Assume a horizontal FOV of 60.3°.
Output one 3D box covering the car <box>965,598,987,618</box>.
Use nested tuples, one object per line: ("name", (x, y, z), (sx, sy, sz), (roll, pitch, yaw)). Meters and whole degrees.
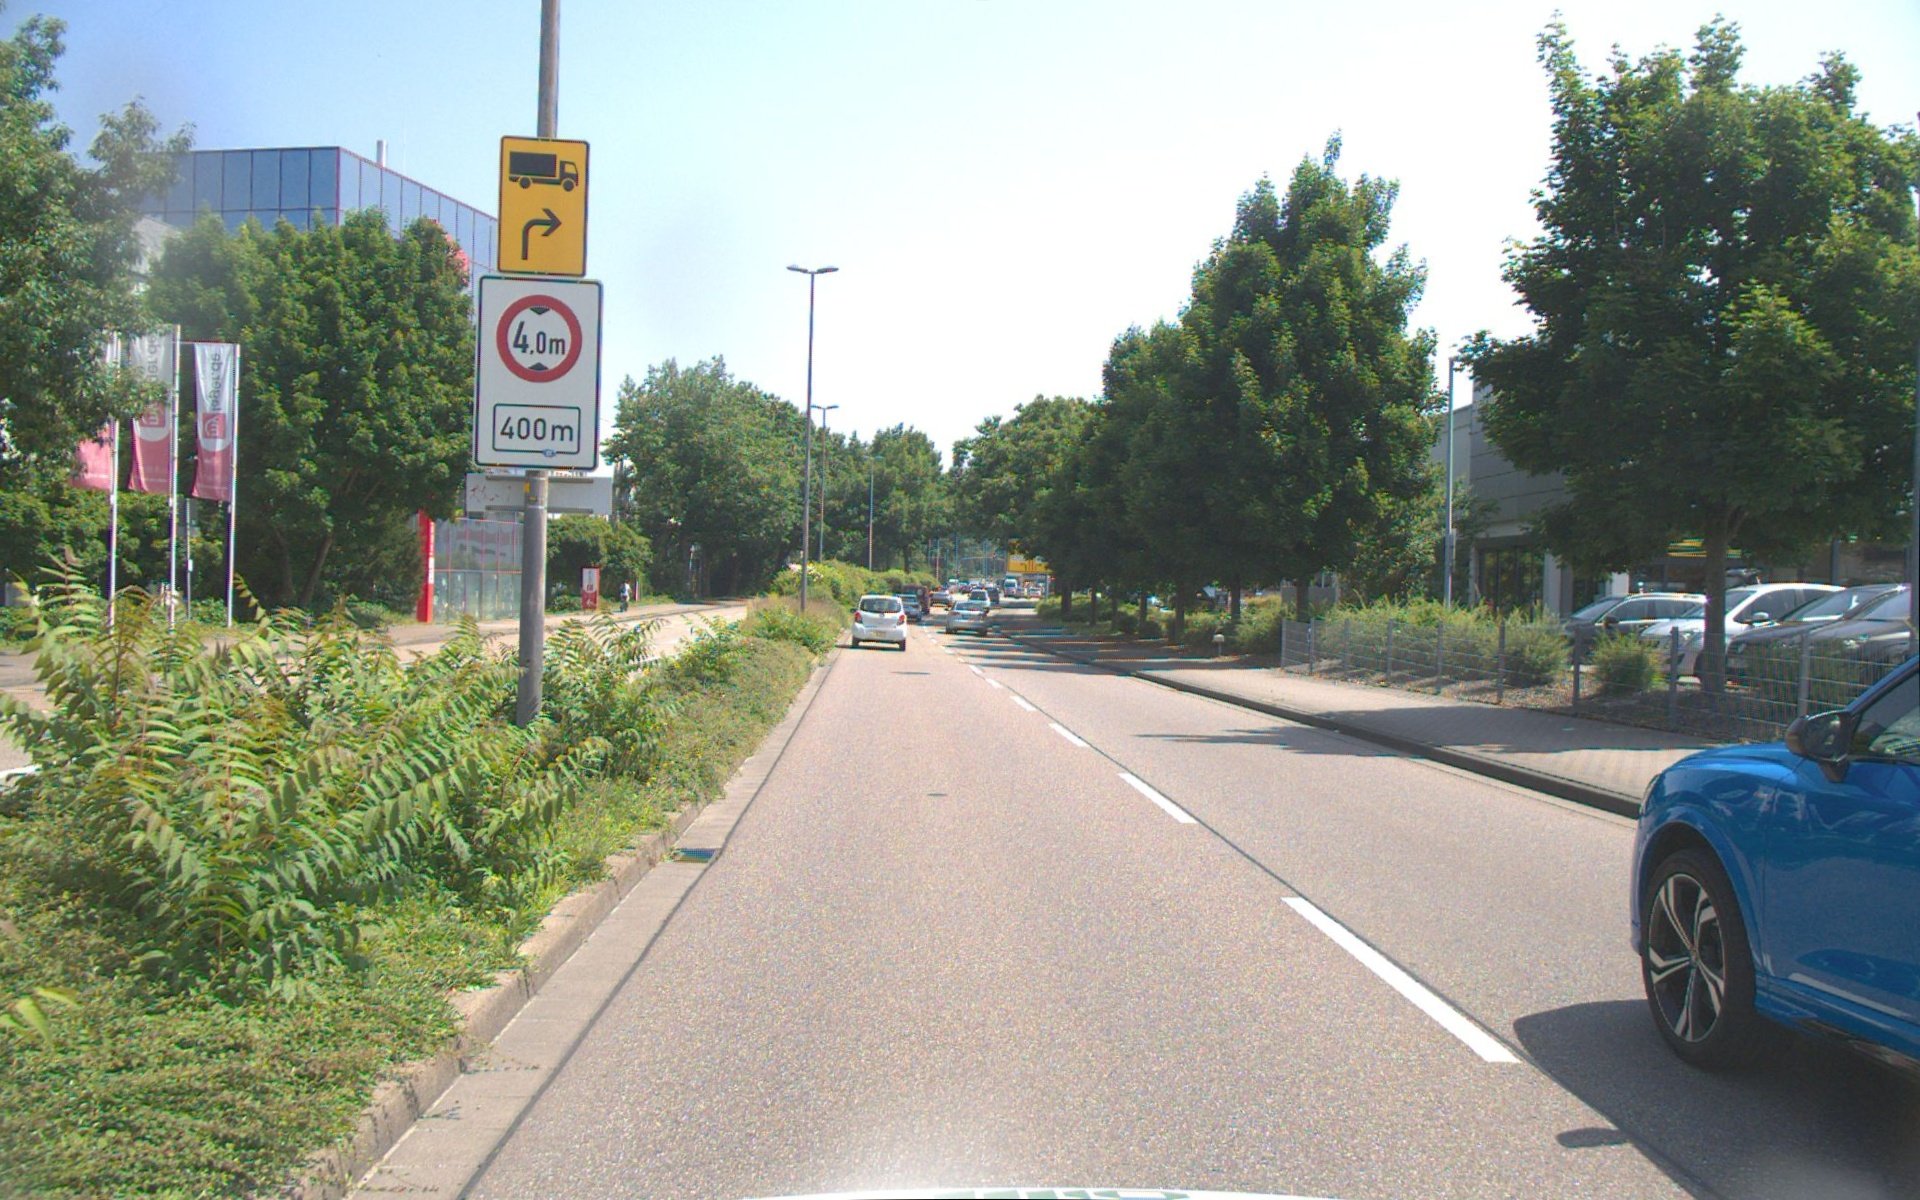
("car", (1.129, 0.583, 119.621), (1.412, 1.372, 3.458), (0, 1, -2))

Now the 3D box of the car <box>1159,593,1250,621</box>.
("car", (12.469, 0.331, 84.515), (1.931, 1.375, 4.655), (0, 0, -36))

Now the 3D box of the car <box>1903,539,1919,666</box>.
("car", (12.617, 0.073, 17.801), (3.906, 1.414, 1.826), (1, 0, -1))

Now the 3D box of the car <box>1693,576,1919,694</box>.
("car", (12.701, 0.498, 23.381), (3.911, 1.561, 1.824), (1, -1, -7))

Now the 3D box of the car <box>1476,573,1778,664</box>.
("car", (12.455, 0.330, 31.058), (4.892, 1.624, 2.021), (0, 0, -4))

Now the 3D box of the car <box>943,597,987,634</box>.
("car", (0.244, 0.642, 72.334), (1.827, 1.498, 4.000), (2, 0, 0))

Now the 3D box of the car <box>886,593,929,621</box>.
("car", (-2.744, 0.337, 87.341), (1.845, 1.377, 4.002), (2, 0, 3))

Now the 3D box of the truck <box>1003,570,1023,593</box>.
("truck", (8.399, -2.913, 261.448), (2.871, 3.563, 9.162), (1, 1, 3))

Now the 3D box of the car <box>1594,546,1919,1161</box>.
("car", (3.422, 0.665, 4.220), (1.772, 1.620, 4.347), (0, 0, -3))

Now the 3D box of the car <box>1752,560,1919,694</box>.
("car", (12.199, 0.354, 20.499), (3.906, 1.561, 1.826), (1, -1, -1))

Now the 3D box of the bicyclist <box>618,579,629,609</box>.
("bicyclist", (-17.833, -0.317, 87.609), (0.534, 1.536, 0.343), (-1, 0, -3))

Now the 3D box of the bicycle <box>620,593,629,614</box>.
("bicycle", (-17.804, 0.170, 87.840), (0.339, 1.086, 0.922), (-1, 0, -2))

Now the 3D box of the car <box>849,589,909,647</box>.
("car", (-2.361, 0.510, 48.741), (1.605, 1.579, 3.324), (2, 0, -1))

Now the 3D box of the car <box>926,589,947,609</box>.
("car", (-1.778, -0.073, 126.562), (1.457, 1.416, 3.306), (2, 0, -2))

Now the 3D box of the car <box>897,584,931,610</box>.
("car", (-2.872, -0.183, 104.508), (1.845, 1.636, 4.001), (0, 0, 2))

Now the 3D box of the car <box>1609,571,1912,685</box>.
("car", (12.561, 0.423, 26.102), (3.909, 1.624, 1.825), (2, 0, -5))
